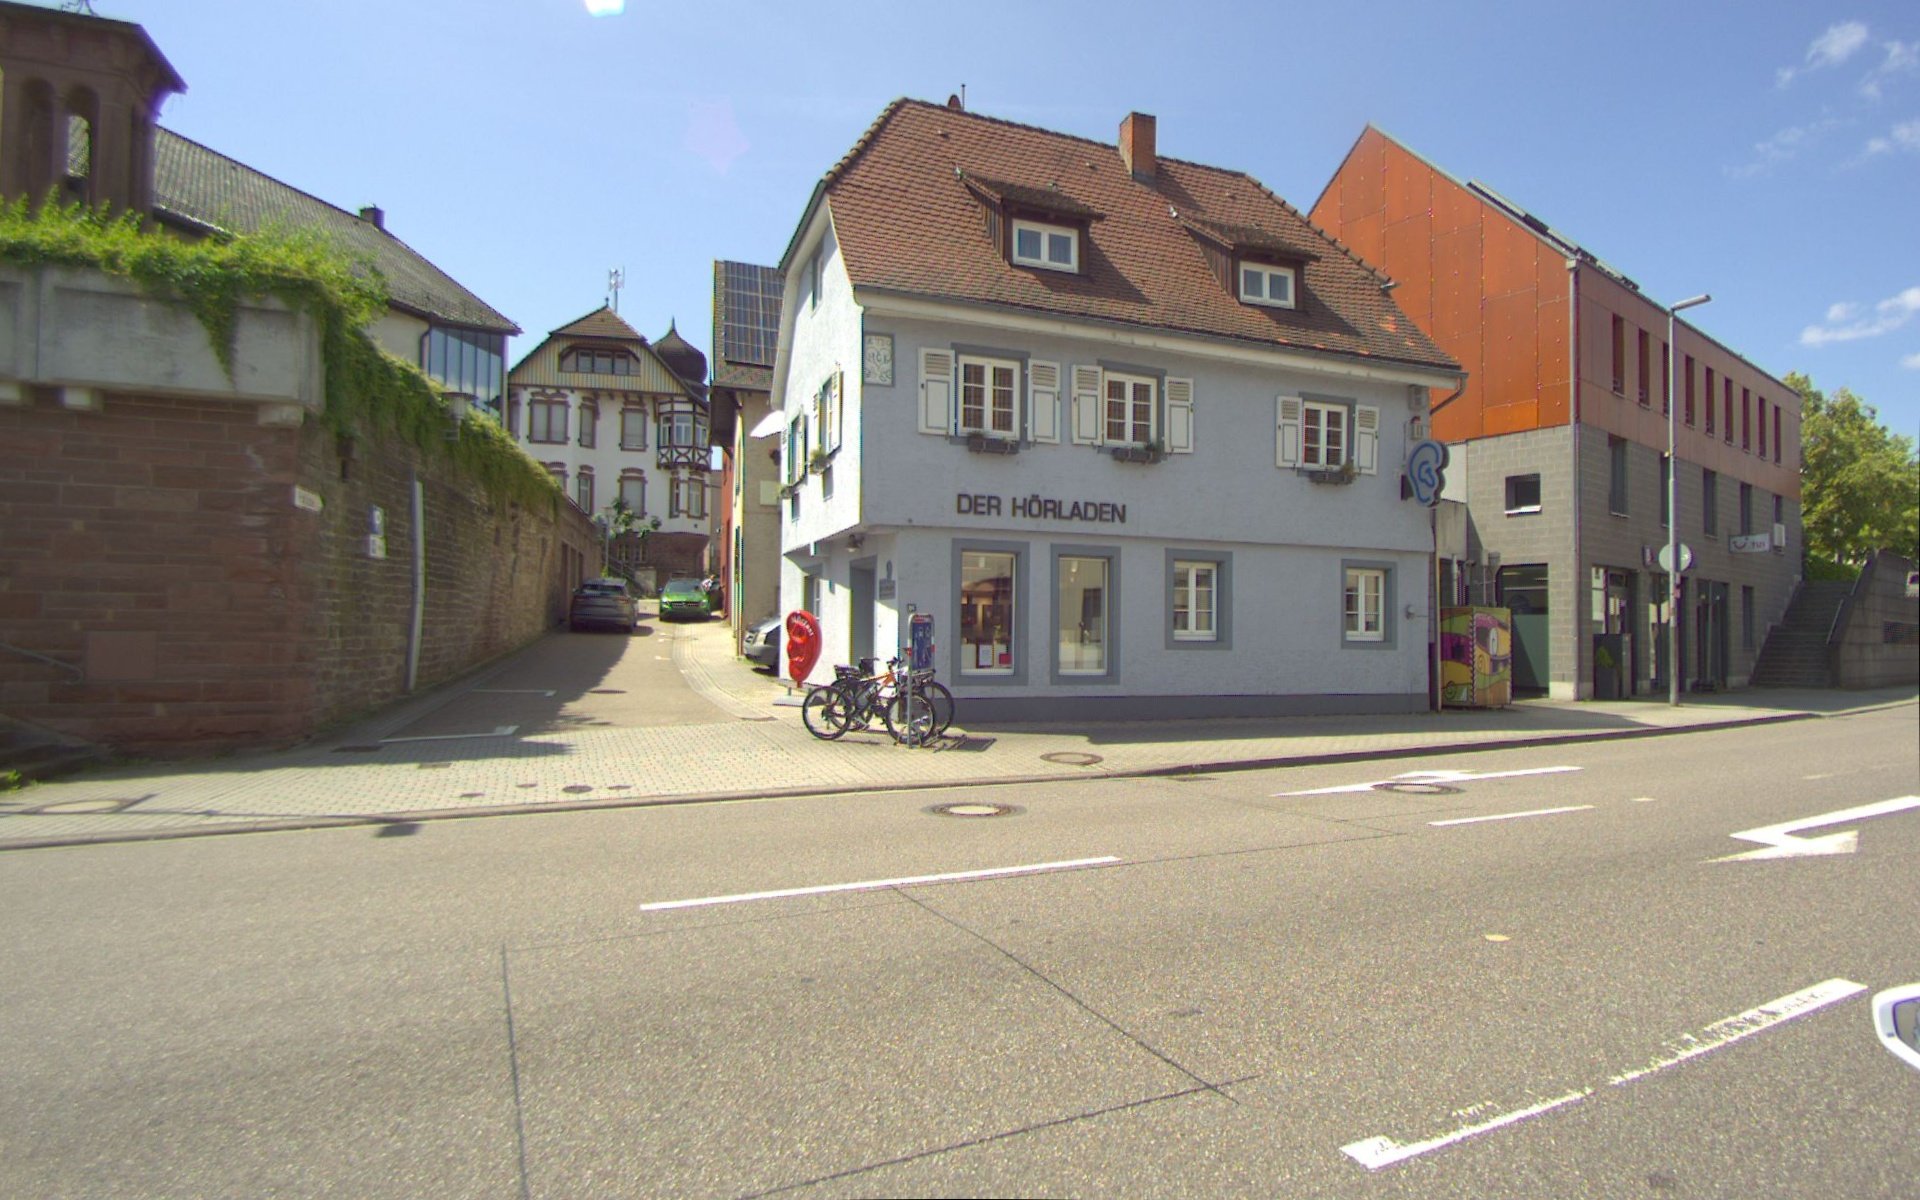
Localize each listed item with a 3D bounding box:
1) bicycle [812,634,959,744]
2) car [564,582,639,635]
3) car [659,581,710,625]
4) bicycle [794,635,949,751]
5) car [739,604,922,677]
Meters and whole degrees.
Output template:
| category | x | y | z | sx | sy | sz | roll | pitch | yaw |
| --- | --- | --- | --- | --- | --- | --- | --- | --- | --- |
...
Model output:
| category | x | y | z | sx | sy | sz | roll | pitch | yaw |
| --- | --- | --- | --- | --- | --- | --- | --- | --- | --- |
| bicycle | -0.964 | 1.122 | 12.969 | 1.794 | 1.266 | 0.578 | 2 | 2 | 17 |
| car | -11.076 | 0.254 | 31.286 | 1.953 | 1.541 | 3.986 | 0 | 0 | -16 |
| car | -10.254 | 0.069 | 37.329 | 1.738 | 1.379 | 3.985 | 0 | 4 | -16 |
| bicycle | -1.085 | 1.106 | 12.327 | 1.794 | 1.266 | 0.578 | 2 | 2 | 17 |
| car | -2.938 | 0.906 | 22.762 | 3.928 | 1.503 | 1.863 | 2 | -1 | -10 |
